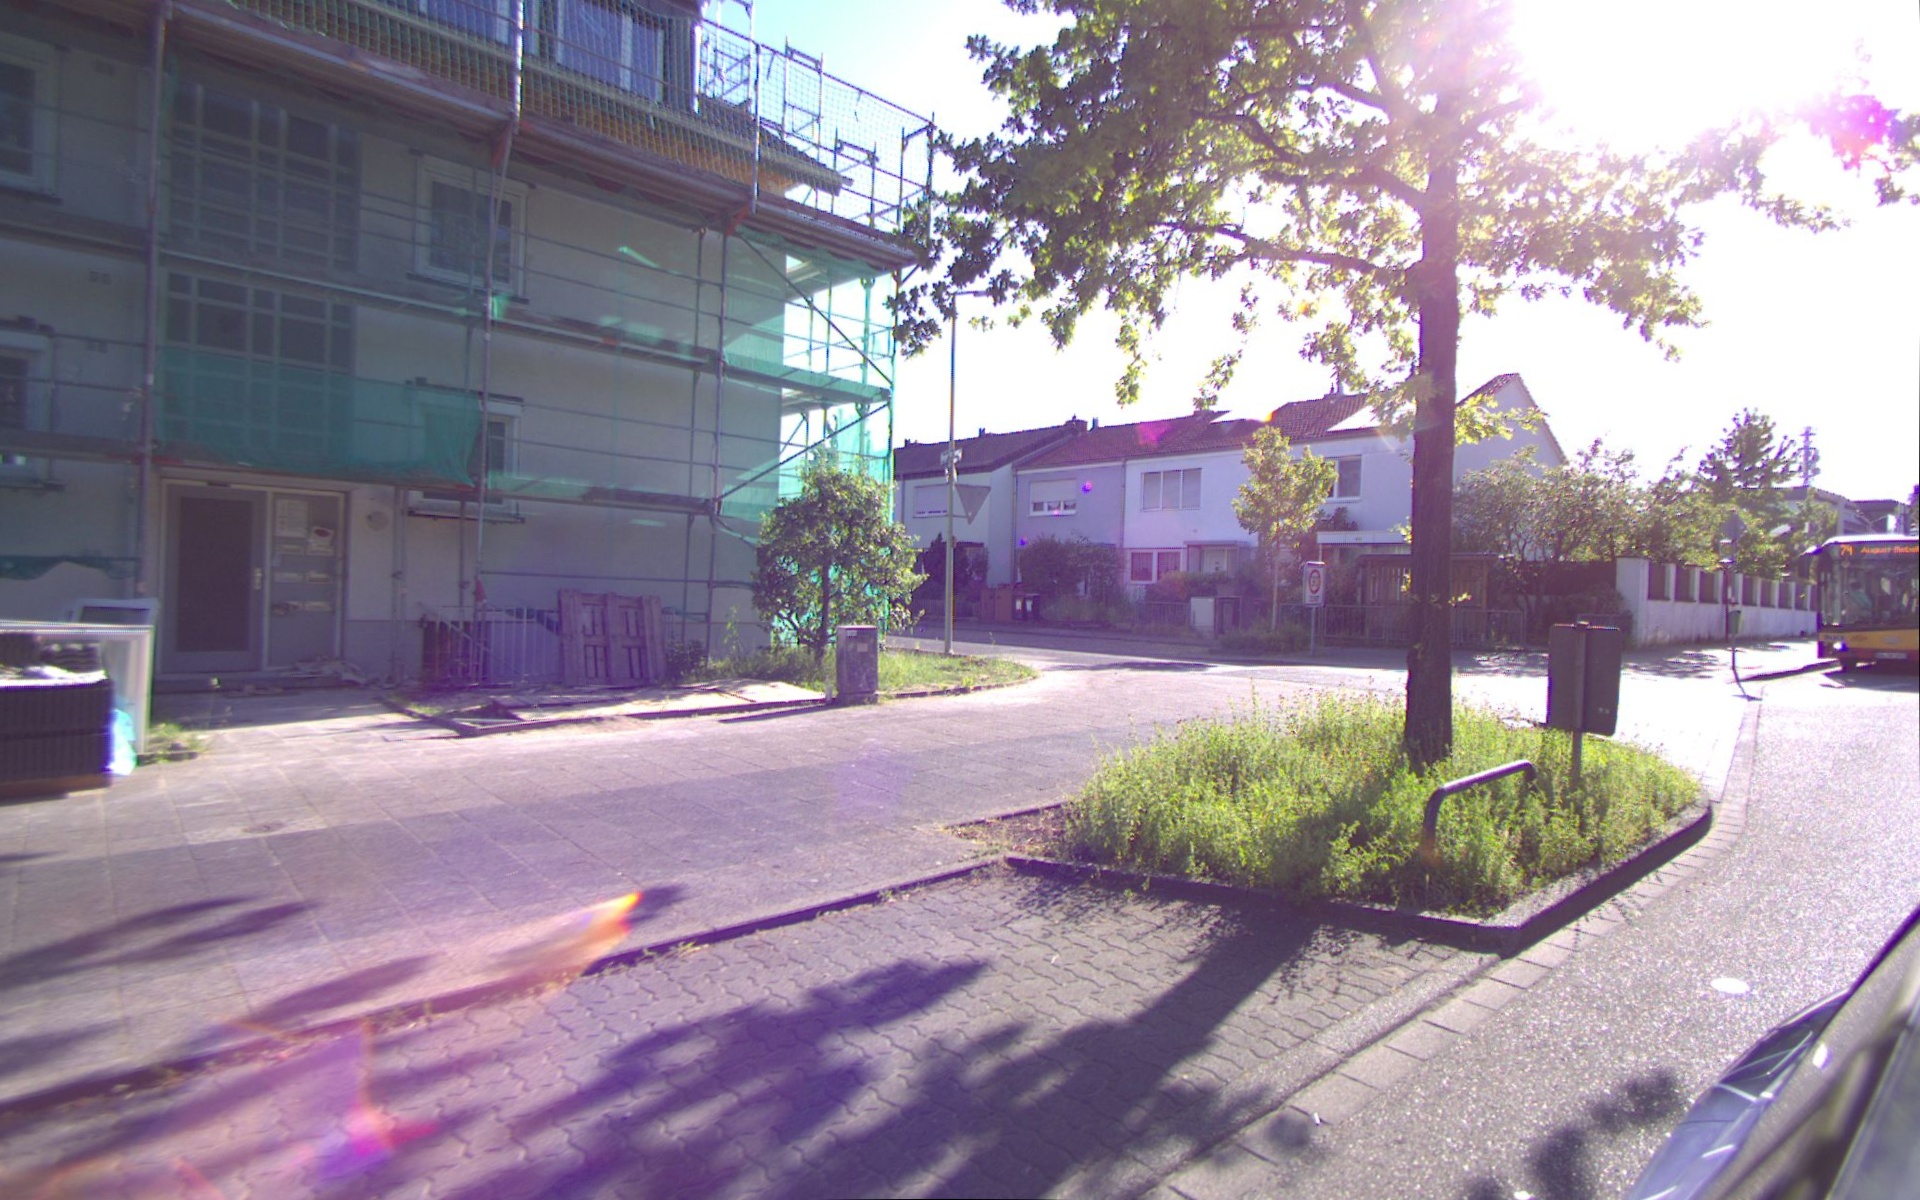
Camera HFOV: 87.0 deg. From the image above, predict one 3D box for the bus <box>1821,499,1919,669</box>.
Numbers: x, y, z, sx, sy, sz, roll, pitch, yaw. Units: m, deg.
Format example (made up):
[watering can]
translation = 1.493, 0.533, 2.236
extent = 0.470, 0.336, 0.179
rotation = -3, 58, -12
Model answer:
[bus]
translation = 24.396, -0.396, 24.943
extent = 12.178, 3.500, 2.764
rotation = -1, 3, -40
